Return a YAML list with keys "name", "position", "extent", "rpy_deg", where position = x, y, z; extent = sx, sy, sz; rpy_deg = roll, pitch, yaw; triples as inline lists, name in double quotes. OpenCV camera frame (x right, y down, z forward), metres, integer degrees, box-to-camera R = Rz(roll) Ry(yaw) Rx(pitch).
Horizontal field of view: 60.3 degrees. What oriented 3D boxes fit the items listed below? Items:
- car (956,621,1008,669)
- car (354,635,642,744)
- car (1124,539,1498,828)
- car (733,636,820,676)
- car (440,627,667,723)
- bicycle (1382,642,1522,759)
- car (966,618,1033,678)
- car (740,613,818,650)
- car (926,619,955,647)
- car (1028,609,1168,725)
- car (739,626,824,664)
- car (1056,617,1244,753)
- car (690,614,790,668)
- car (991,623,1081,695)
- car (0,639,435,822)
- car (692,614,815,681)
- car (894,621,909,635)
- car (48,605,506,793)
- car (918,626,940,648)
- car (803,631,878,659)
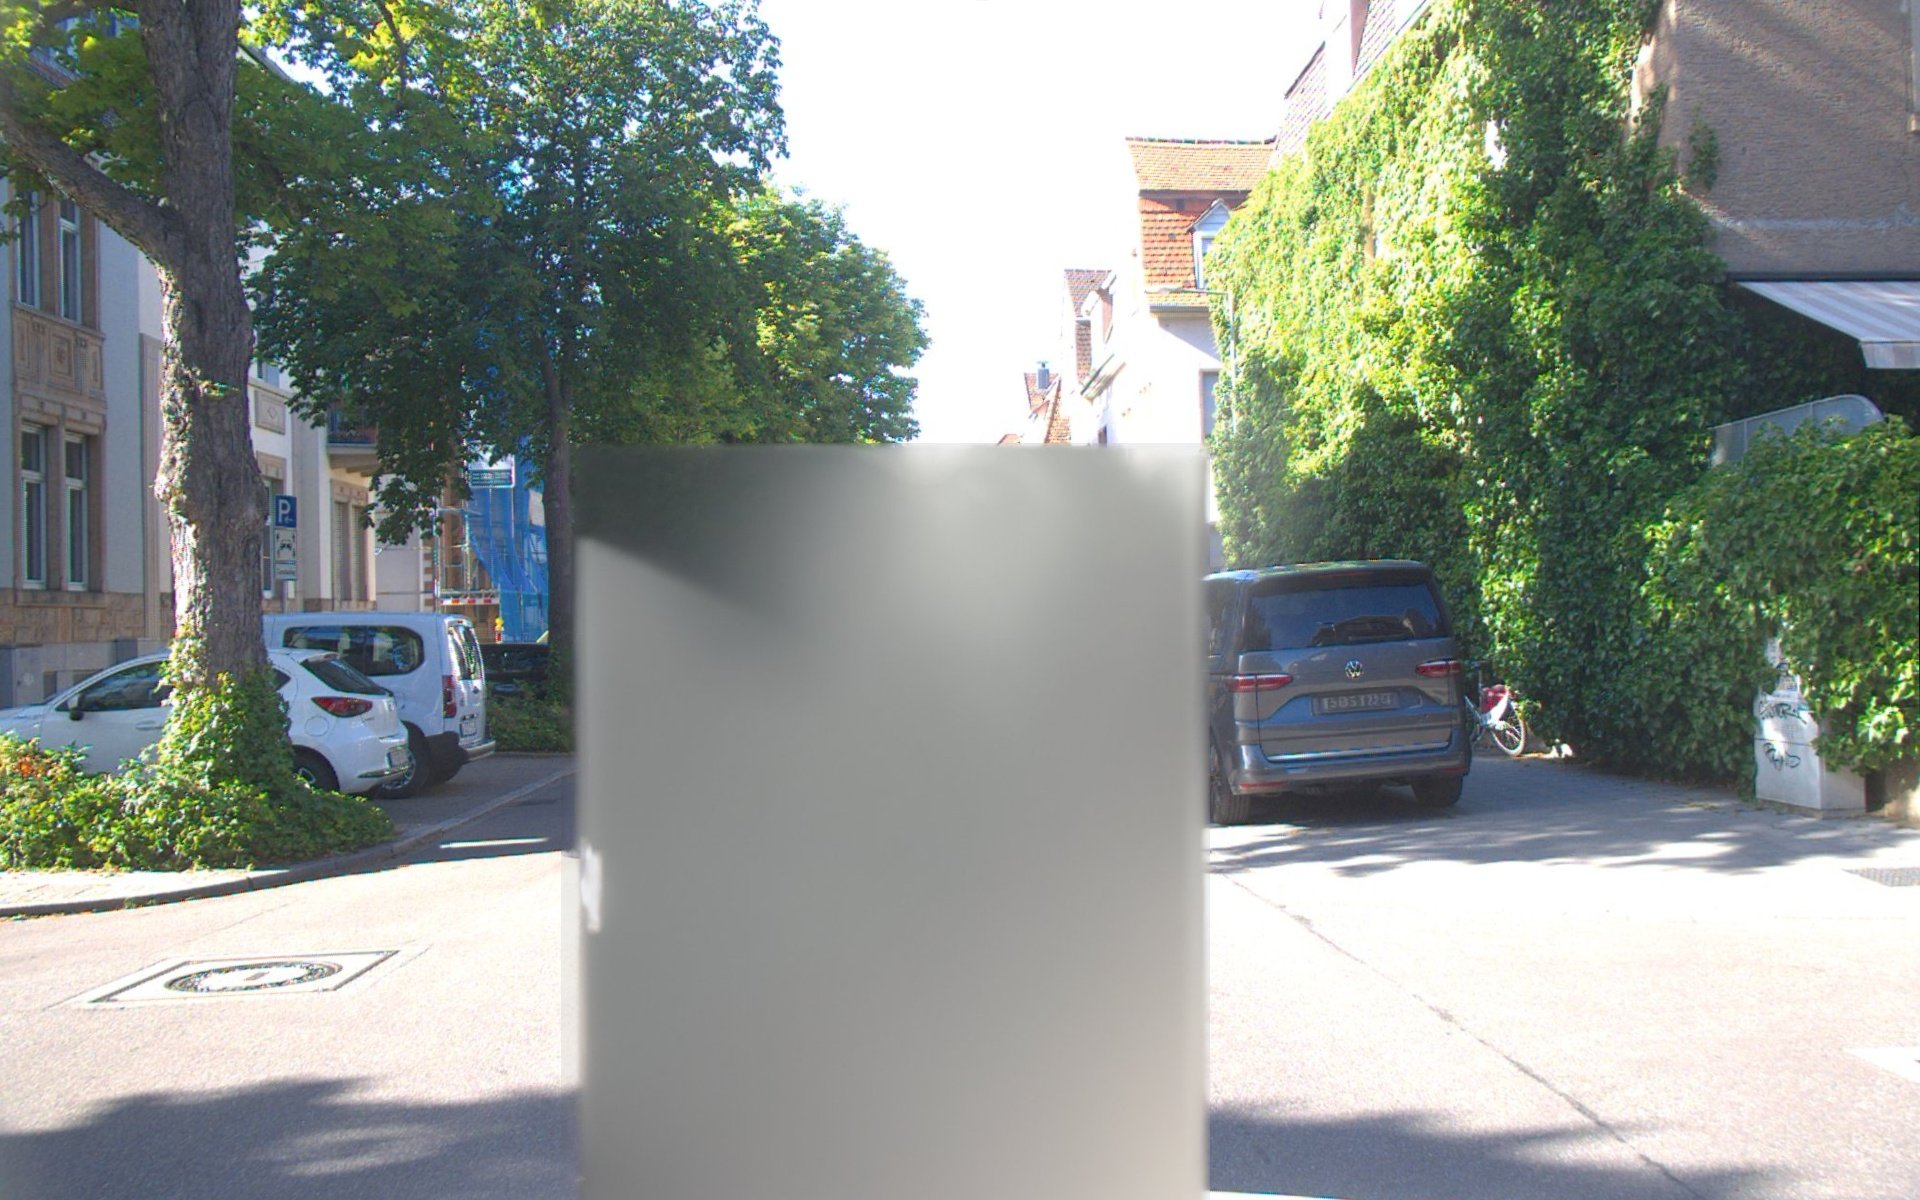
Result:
- name: "car"
  position: [0.771, 1.624, 61.048]
  extent: [1.735, 1.660, 3.864]
  rpy_deg: [-1, -1, -2]
- name: "car"
  position: [-7.083, 1.355, 25.654]
  extent: [3.906, 1.495, 1.863]
  rpy_deg: [-1, 0, -1]
- name: "car"
  position: [2.722, 0.611, 14.054]
  extent: [1.867, 1.903, 4.670]
  rpy_deg: [-4, 0, -3]
- name: "car"
  position: [-8.730, 2.649, 78.854]
  extent: [3.924, 1.765, 1.894]
  rpy_deg: [1, 0, -1]
- name: "car"
  position: [-7.420, 1.349, 30.539]
  extent: [3.916, 1.579, 1.832]
  rpy_deg: [-2, 0, -11]
- name: "bicycle"
  position: [4.876, 0.965, 16.561]
  extent: [0.576, 1.041, 2.368]
  rpy_deg: [-2, -1, -2]
- name: "car"
  position: [1.127, 1.378, 48.674]
  extent: [1.735, 1.660, 3.864]
  rpy_deg: [-1, -1, -2]
- name: "car"
  position: [-9.602, 1.684, 87.998]
  extent: [3.924, 1.873, 2.000]
  rpy_deg: [1, 0, -1]
- name: "car"
  position: [-1.213, 2.016, 103.081]
  extent: [1.735, 1.660, 3.864]
  rpy_deg: [-1, -1, -2]
- name: "car"
  position: [2.097, 0.995, 26.100]
  extent: [1.753, 1.646, 3.864]
  rpy_deg: [-1, -1, -2]
- name: "car"
  position: [-8.743, 2.181, 81.281]
  extent: [3.924, 1.765, 1.894]
  rpy_deg: [1, 0, -1]
- name: "car"
  position: [2.270, 0.987, 20.710]
  extent: [1.657, 1.423, 3.803]
  rpy_deg: [-4, 0, -3]
- name: "car"
  position: [-9.011, 1.662, 67.667]
  extent: [3.916, 2.049, 1.995]
  rpy_deg: [-1, -1, -11]
- name: "car"
  position: [1.674, 1.299, 37.522]
  extent: [1.735, 1.480, 3.864]
  rpy_deg: [-1, -1, -2]
- name: "car"
  position: [-6.835, 1.109, 14.522]
  extent: [3.910, 1.490, 1.795]
  rpy_deg: [1, -2, -7]
- name: "car"
  position: [-6.874, 1.566, 54.800]
  extent: [3.916, 2.049, 1.995]
  rpy_deg: [-1, -1, -11]
- name: "car"
  position: [-7.147, 3.420, 202.200]
  extent: [1.735, 1.660, 3.864]
  rpy_deg: [-1, -1, -2]
- name: "car"
  position: [-6.799, 0.989, 16.856]
  extent: [3.910, 1.792, 1.795]
  rpy_deg: [1, -2, -7]
- name: "car"
  position: [-2.487, 2.897, 131.638]
  extent: [1.735, 1.660, 3.864]
  rpy_deg: [-1, -1, -2]
- name: "car"
  position: [-6.795, 2.545, 94.008]
  extent: [3.930, 1.434, 1.691]
  rpy_deg: [-1, -1, -21]
